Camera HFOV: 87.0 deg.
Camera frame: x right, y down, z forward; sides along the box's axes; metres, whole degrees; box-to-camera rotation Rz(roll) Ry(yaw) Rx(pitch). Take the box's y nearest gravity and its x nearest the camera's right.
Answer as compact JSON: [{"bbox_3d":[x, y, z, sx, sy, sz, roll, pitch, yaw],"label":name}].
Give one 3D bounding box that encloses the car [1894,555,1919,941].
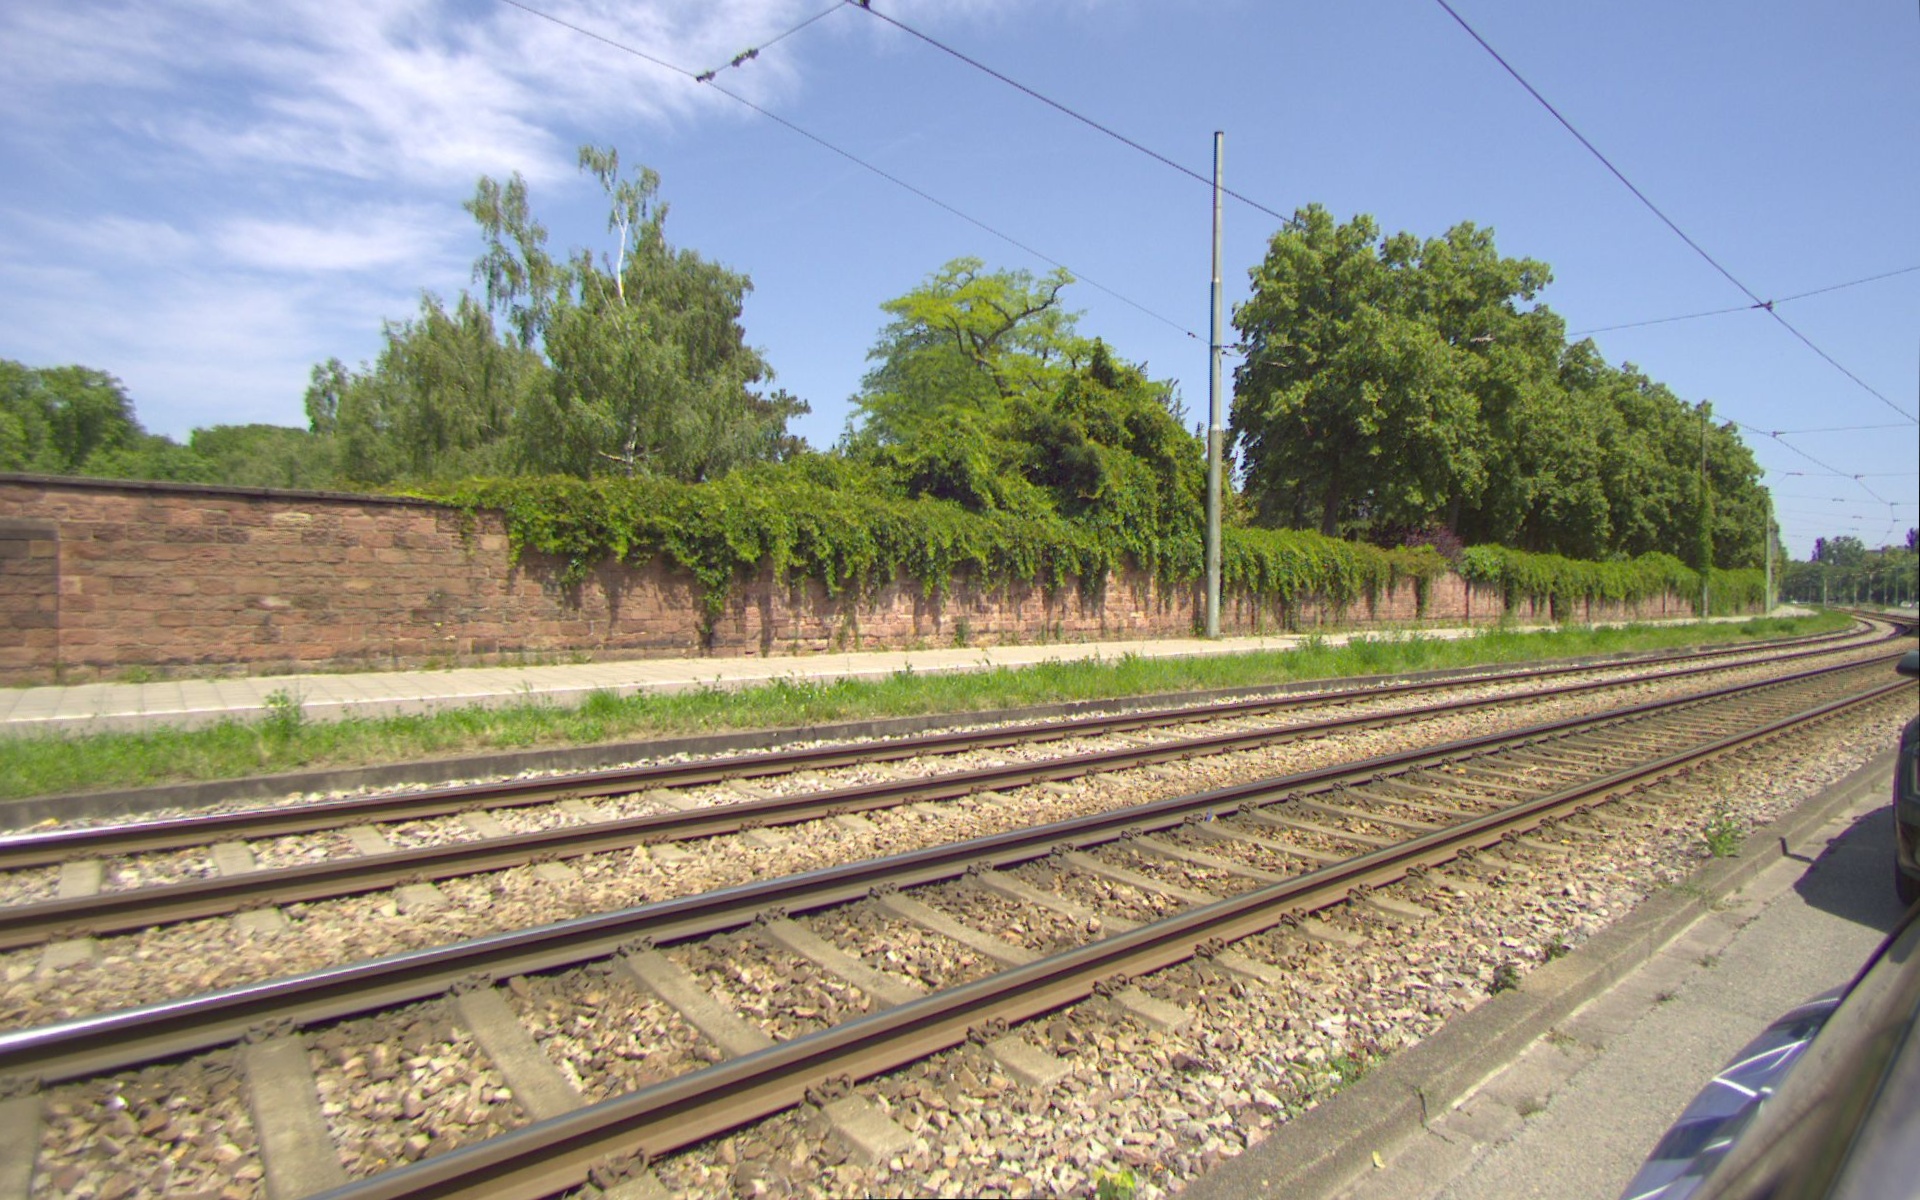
[{"bbox_3d":[6.148,0.617,5.024,4.349,1.603,1.757,0,0,-41],"label":"car"}]
